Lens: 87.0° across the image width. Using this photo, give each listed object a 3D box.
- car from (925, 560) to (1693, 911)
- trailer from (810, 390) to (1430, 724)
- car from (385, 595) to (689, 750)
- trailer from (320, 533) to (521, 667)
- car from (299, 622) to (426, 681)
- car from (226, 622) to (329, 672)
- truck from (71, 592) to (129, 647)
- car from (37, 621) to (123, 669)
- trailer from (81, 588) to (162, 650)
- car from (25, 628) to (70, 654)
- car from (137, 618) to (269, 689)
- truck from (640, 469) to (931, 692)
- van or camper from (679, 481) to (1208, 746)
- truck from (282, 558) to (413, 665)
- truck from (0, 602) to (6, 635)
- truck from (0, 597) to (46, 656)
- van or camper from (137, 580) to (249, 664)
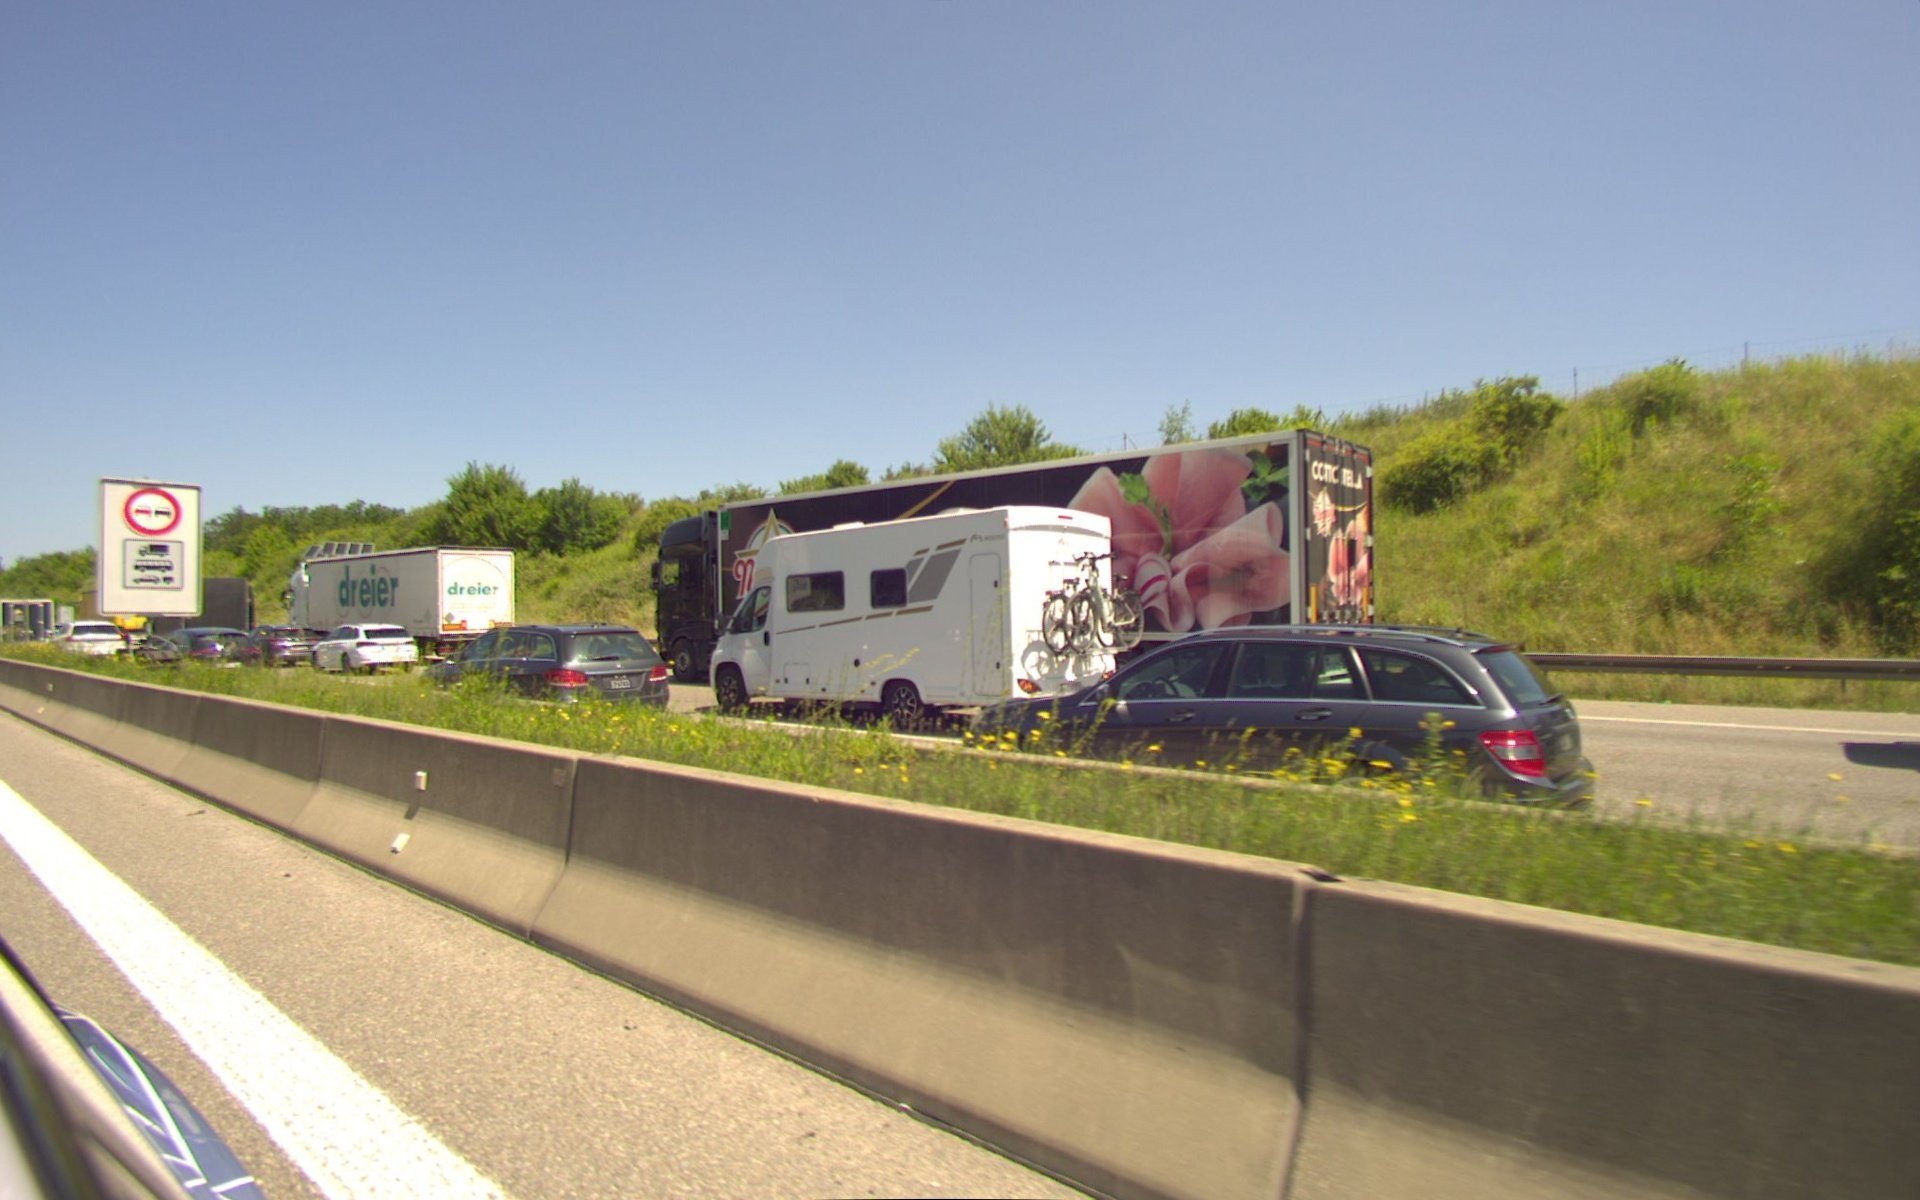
[{"bbox_3d":[2.172,0.698,7.364,4.971,1.743,1.793,-1,0,41],"label":"car"},{"bbox_3d":[1.990,-0.494,17.538,10.788,4.272,2.760,-1,0,41],"label":"trailer"},{"bbox_3d":[-6.255,0.896,14.559,5.541,1.823,1.793,-1,0,41],"label":"car"},{"bbox_3d":[-20.392,0.097,37.714,11.706,4.338,2.752,-1,-1,42],"label":"trailer"},{"bbox_3d":[-17.764,1.466,29.983,4.996,1.555,1.793,-1,0,41],"label":"car"},{"bbox_3d":[-23.731,1.571,35.105,4.827,1.548,1.793,-1,0,41],"label":"car"},{"bbox_3d":[-66.609,1.491,78.369,6.131,4.095,2.575,-1,0,42],"label":"truck"},{"bbox_3d":[-33.059,1.644,37.977,5.028,1.646,1.793,-1,0,41],"label":"car"},{"bbox_3d":[-60.803,1.348,73.249,11.850,4.175,2.623,-1,0,41],"label":"trailer"},{"bbox_3d":[-60.673,2.703,67.259,3.998,1.586,1.777,-1,0,41],"label":"car"},{"bbox_3d":[-19.876,1.314,26.485,5.028,1.646,1.793,-1,0,41],"label":"car"},{"bbox_3d":[-4.152,-0.319,23.001,7.026,4.338,2.752,-1,-1,41],"label":"truck"},{"bbox_3d":[-0.674,0.193,15.100,8.109,2.970,2.812,-1,0,41],"label":"van or camper"},{"bbox_3d":[-25.925,0.508,42.696,7.026,4.145,2.752,-1,-1,42],"label":"truck"},{"bbox_3d":[-117.426,2.286,122.003,8.951,3.927,2.598,-1,0,41],"label":"truck"},{"bbox_3d":[-48.591,1.313,51.737,6.209,2.863,2.098,-1,0,41],"label":"truck"},{"bbox_3d":[-33.648,0.920,44.261,7.942,3.385,2.502,-1,0,43],"label":"van or camper"}]
